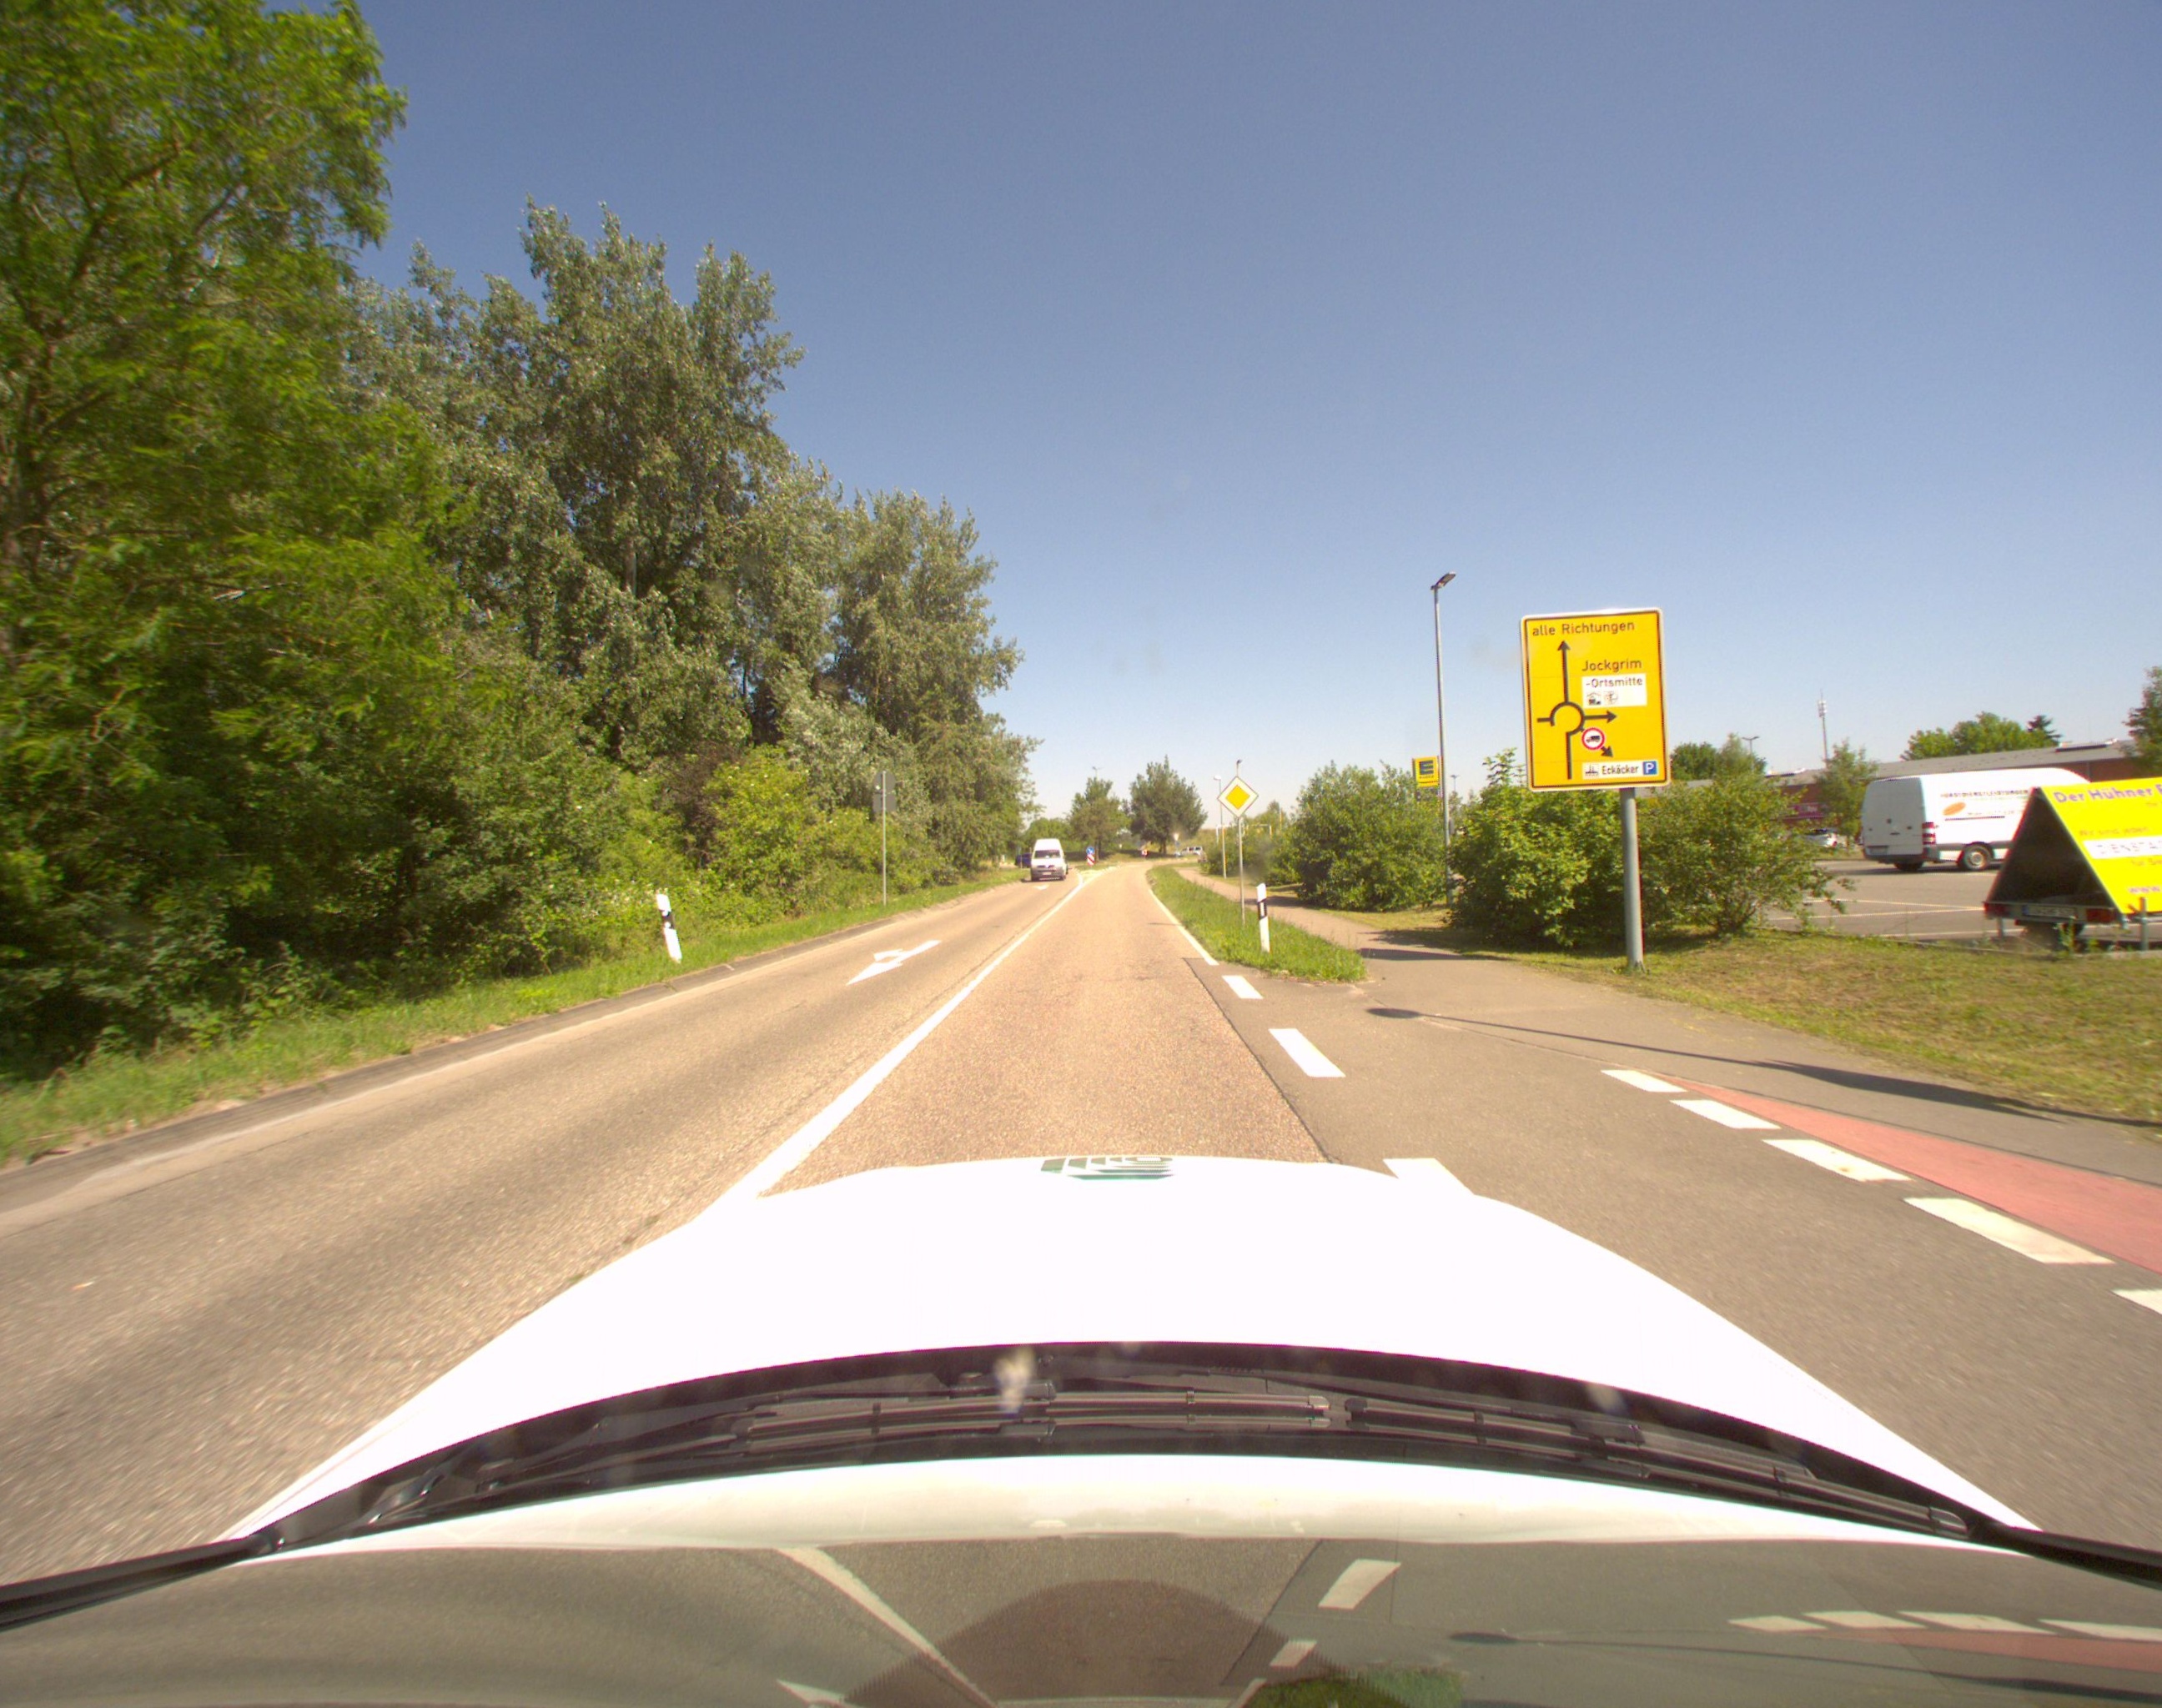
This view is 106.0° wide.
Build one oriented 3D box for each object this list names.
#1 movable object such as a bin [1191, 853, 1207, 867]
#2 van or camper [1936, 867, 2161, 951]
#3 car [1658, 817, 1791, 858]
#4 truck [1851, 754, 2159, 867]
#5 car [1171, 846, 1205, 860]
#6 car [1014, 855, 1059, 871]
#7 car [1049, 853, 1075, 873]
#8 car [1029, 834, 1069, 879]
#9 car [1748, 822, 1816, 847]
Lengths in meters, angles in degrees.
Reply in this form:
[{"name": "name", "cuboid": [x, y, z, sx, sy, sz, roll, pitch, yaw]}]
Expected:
[{"name": "movable object such as a bin", "cuboid": [10.125, 0.497, 69.869, 0.859, 1.120, 1.464, -2, 0, 30]}, {"name": "van or camper", "cuboid": [12.195, 0.568, 9.206, 3.079, 0.614, 1.817, -4, 1, 3]}, {"name": "car", "cuboid": [25.513, -0.649, 32.349, 3.958, 1.453, 1.900, -2, 0, -8]}, {"name": "truck", "cuboid": [24.579, -1.105, 21.855, 5.578, 2.605, 2.204, -3, 0, 1]}, {"name": "car", "cuboid": [15.320, -0.134, 116.505, 4.476, 1.859, 2.009, -3, 0, 16]}, {"name": "car", "cuboid": [-4.763, 0.970, 87.177, 4.373, 1.571, 1.726, -2, 1, 26]}, {"name": "car", "cuboid": [-1.421, 0.668, 63.309, 1.692, 1.389, 4.296, -2, 0, 2]}, {"name": "car", "cuboid": [-1.790, 0.111, 47.584, 1.905, 2.400, 4.912, -2, 0, 2]}, {"name": "car", "cuboid": [46.047, -1.268, 53.487, 4.008, 1.486, 1.952, -2, 1, -26]}]
